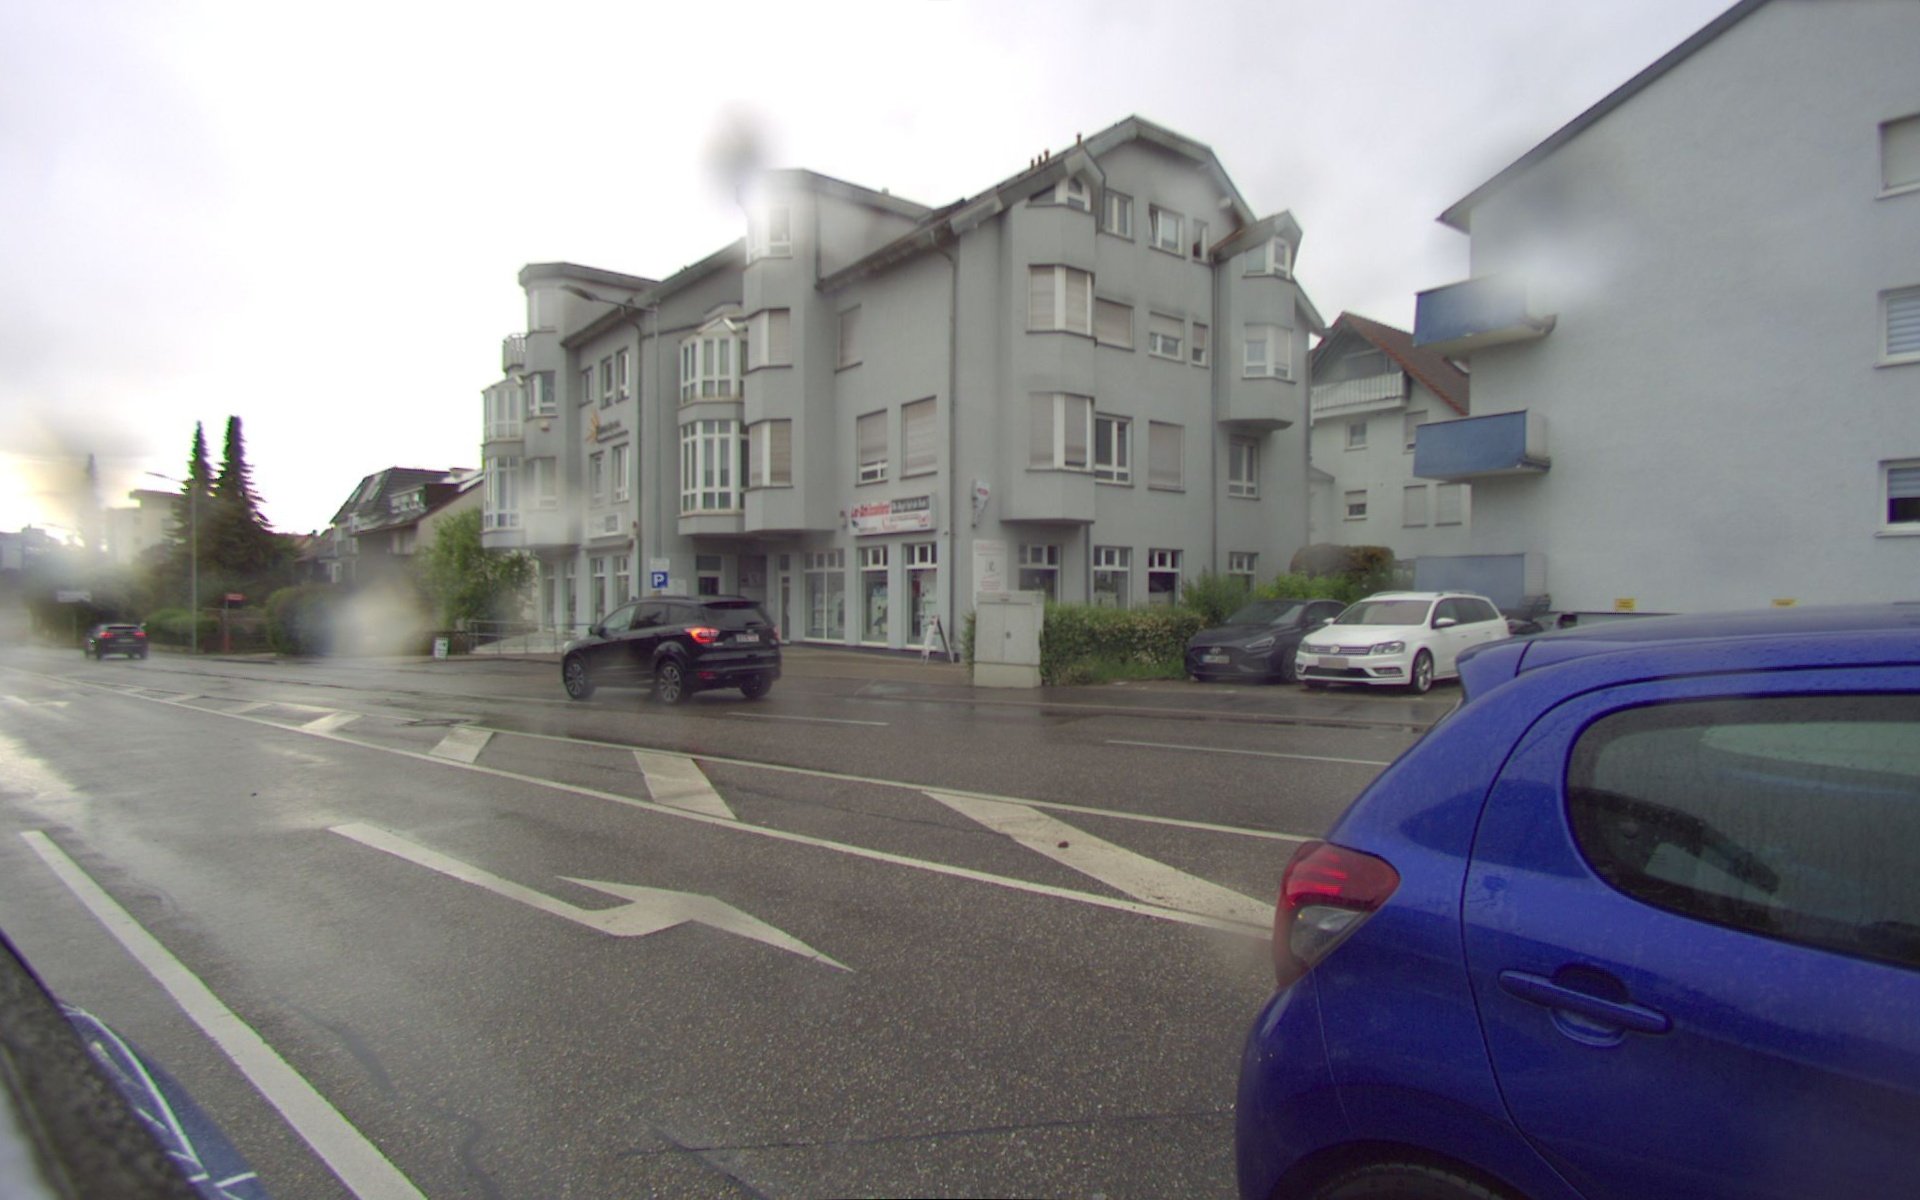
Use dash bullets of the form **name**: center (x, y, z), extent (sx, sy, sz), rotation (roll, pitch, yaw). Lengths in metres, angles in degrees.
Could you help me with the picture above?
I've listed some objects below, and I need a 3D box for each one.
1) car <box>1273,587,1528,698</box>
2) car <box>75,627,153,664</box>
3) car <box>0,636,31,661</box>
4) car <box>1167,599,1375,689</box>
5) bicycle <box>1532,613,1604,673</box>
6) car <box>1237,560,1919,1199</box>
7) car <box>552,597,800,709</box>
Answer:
- **car**: center (6.986, 0.597, 15.807), extent (4.685, 1.471, 1.883), rotation (0, -2, -42)
- **car**: center (-37.900, 1.997, 45.320), extent (3.995, 1.523, 1.948), rotation (-1, 0, 39)
- **car**: center (-67.166, 3.406, 71.378), extent (4.537, 1.637, 1.973), rotation (-2, 0, 41)
- **car**: center (5.497, 0.683, 17.652), extent (1.851, 1.366, 3.941), rotation (-1, 0, 45)
- **bicycle**: center (11.147, 0.786, 18.563), extent (1.065, 1.061, 0.343), rotation (-2, -1, 41)
- **car**: center (2.240, 0.635, 1.198), extent (3.362, 1.423, 1.489), rotation (-2, -1, 41)
- **car**: center (-4.714, 0.810, 16.501), extent (4.180, 1.609, 1.860), rotation (-2, -2, 39)
